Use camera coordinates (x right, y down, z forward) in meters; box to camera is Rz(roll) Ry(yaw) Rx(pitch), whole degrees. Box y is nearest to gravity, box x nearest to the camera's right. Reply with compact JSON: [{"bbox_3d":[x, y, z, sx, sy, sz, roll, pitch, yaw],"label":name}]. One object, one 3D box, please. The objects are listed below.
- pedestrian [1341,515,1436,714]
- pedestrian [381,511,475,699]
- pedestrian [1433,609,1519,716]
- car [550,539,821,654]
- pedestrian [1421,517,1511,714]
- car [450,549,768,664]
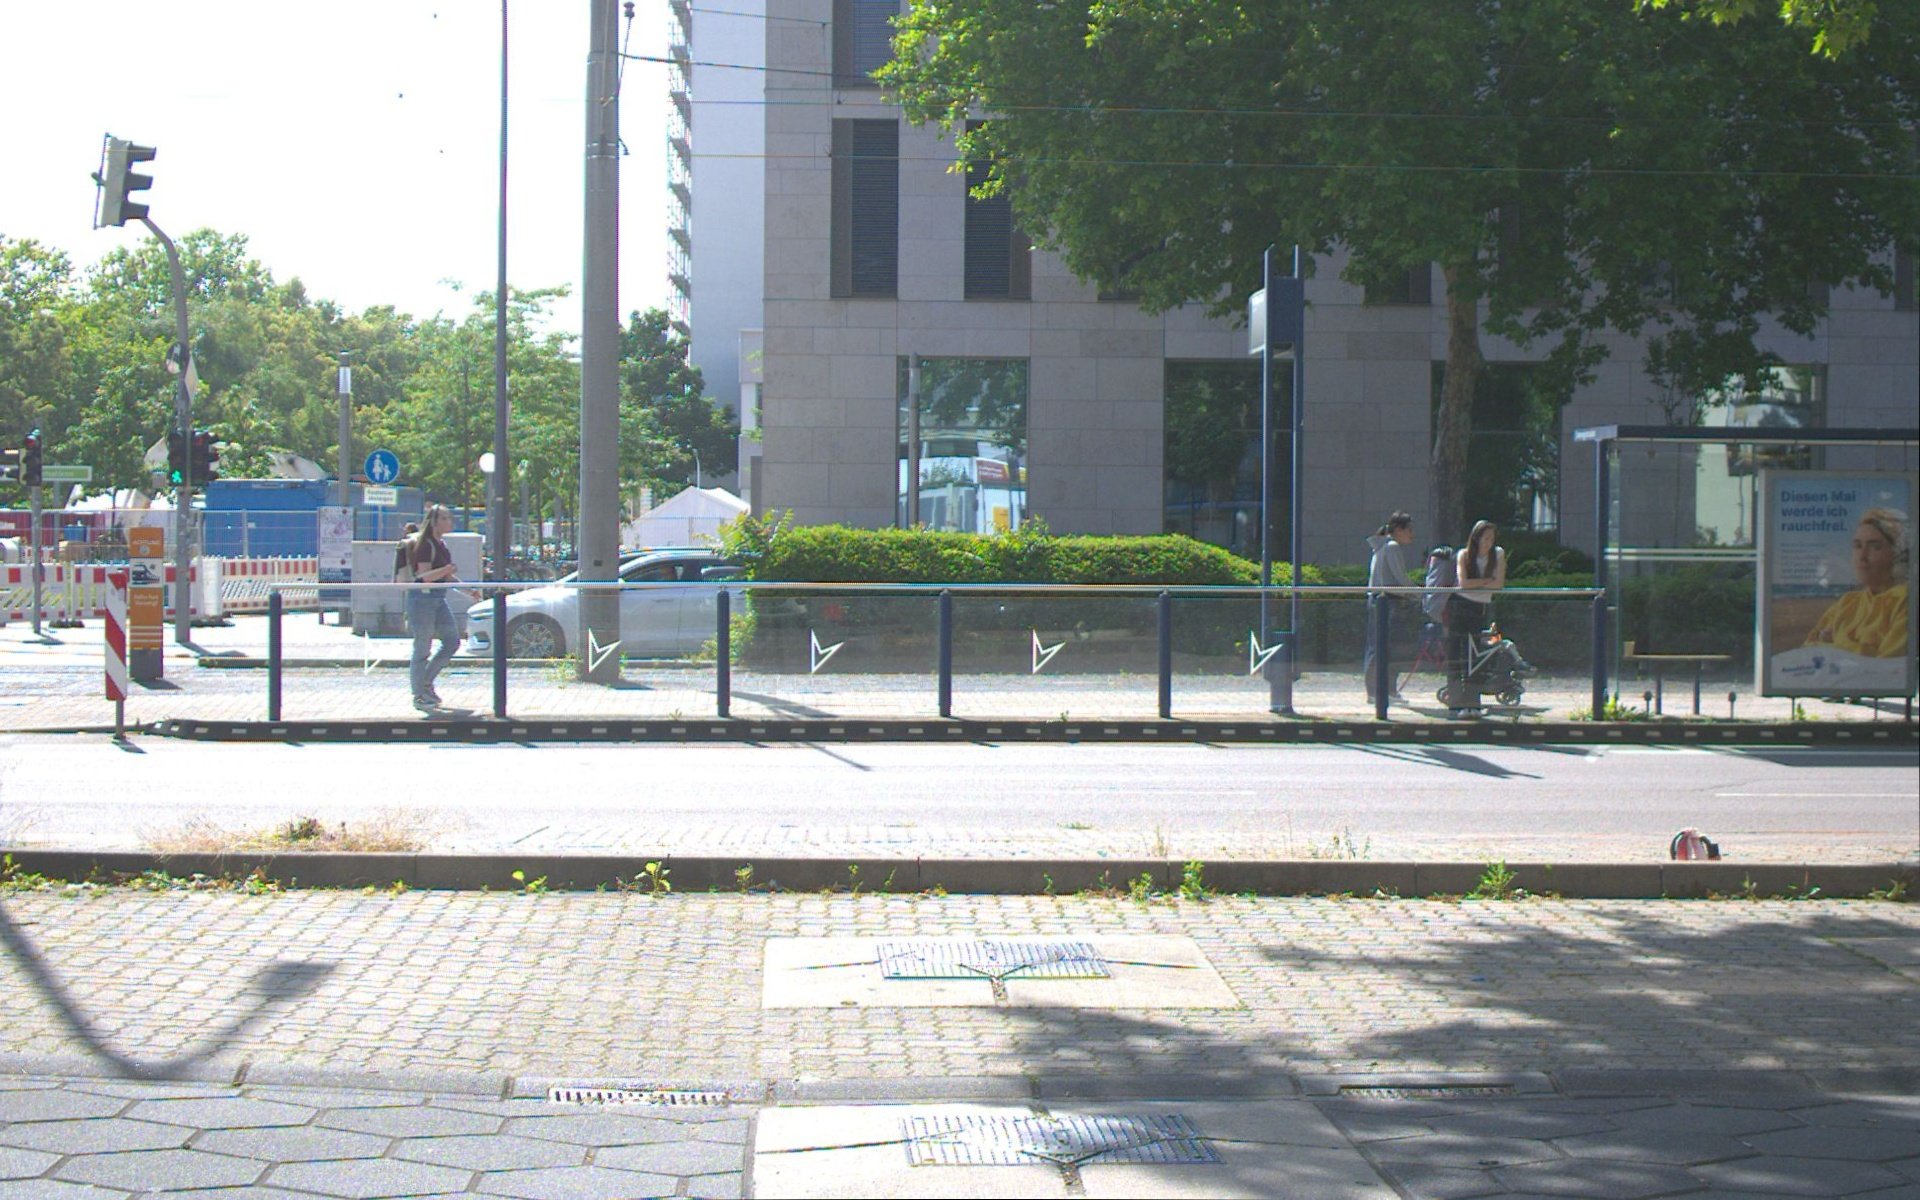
[{"bbox_3d":[3.645,0.117,29.276,0.777,1.677,0.503,1,1,7],"label":"pedestrian"},{"bbox_3d":[-4.403,0.034,28.464,0.650,1.535,0.503,1,1,7],"label":"pedestrian"},{"bbox_3d":[4.377,0.524,29.182,0.690,0.877,0.503,1,1,6],"label":"pedestrian"},{"bbox_3d":[-3.853,-0.055,48.017,3.681,1.546,1.592,0,1,-8],"label":"car"},{"bbox_3d":[4.153,0.119,28.259,0.584,1.586,0.670,1,3,-3],"label":"pedestrian"},{"bbox_3d":[-4.170,0.066,41.219,3.681,1.308,1.592,1,1,-1],"label":"car"}]
